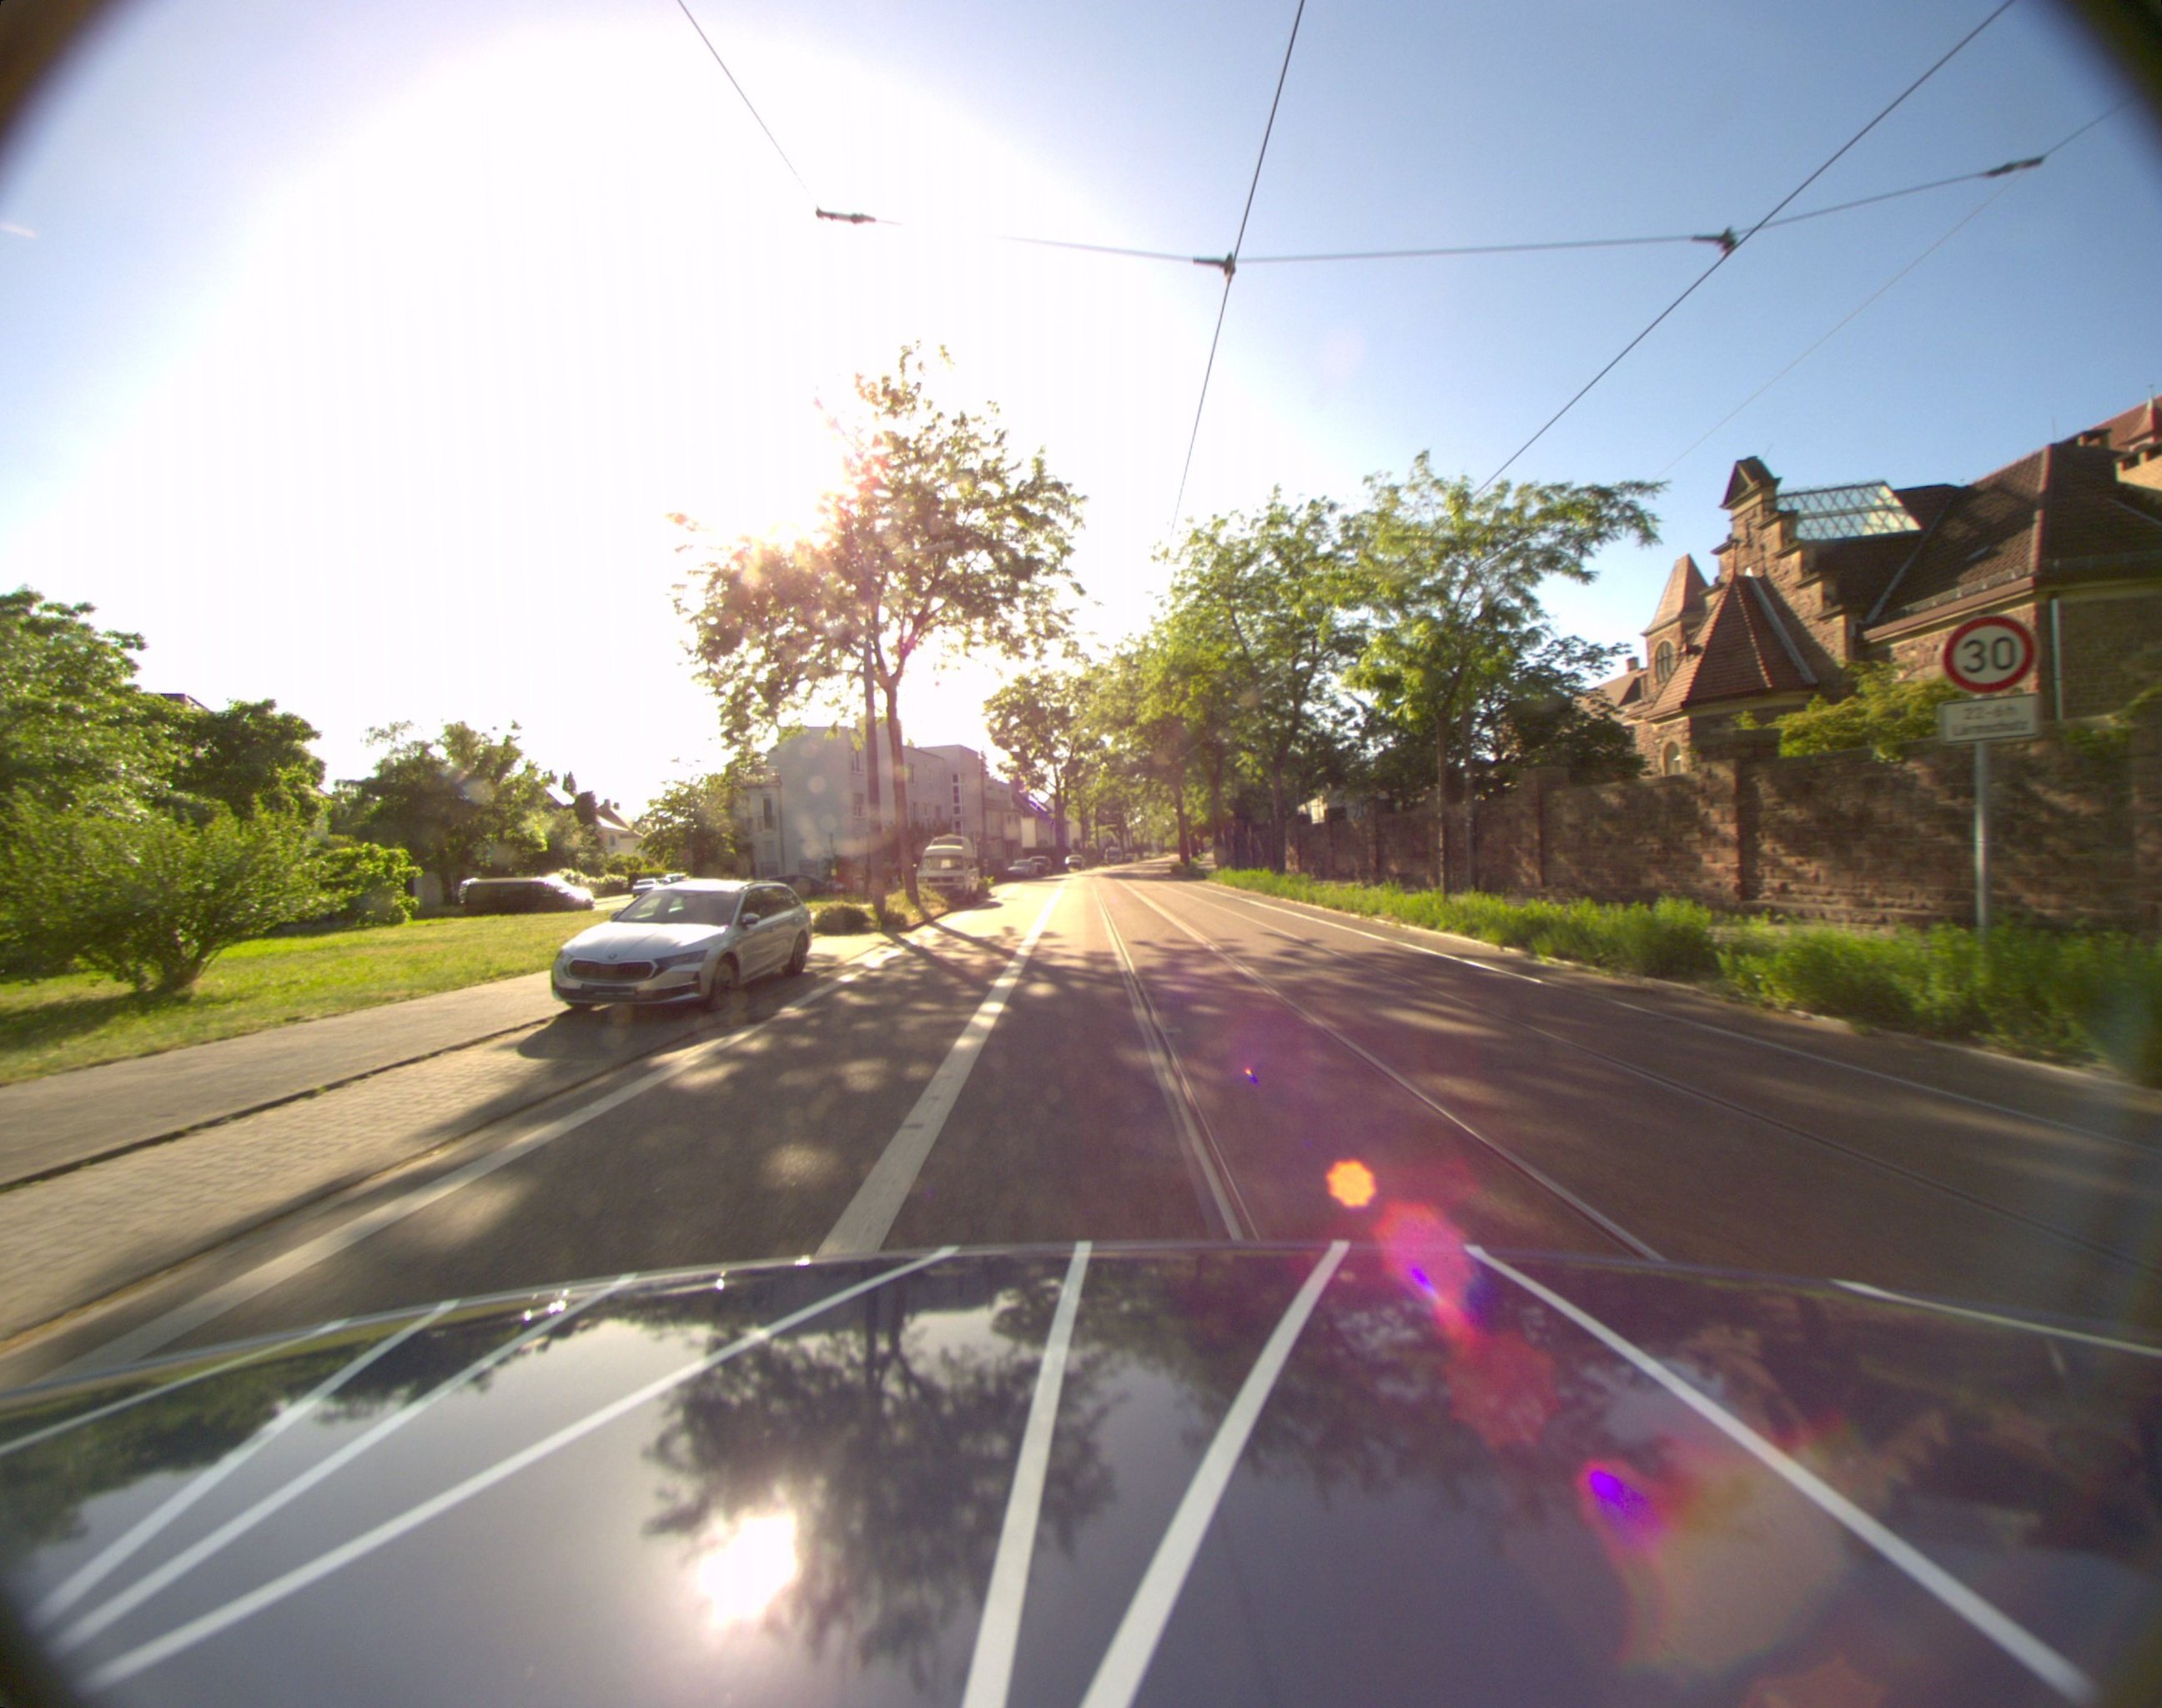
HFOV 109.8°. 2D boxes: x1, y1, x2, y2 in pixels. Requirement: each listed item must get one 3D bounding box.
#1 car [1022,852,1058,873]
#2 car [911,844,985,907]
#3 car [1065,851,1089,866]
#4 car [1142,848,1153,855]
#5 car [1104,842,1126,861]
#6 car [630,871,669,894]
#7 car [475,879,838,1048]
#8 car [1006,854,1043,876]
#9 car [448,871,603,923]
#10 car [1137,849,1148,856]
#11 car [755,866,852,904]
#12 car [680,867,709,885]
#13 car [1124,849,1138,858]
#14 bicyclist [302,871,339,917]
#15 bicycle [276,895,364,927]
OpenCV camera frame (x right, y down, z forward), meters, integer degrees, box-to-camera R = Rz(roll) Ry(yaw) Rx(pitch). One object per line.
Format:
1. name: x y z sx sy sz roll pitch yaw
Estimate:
1. car: -3.464 0.672 64.996 1.997 1.607 4.603 -2 1 11
2. car: -4.917 0.736 28.737 1.999 2.083 4.715 -3 0 -1
3. car: -0.409 0.465 82.196 1.879 1.509 4.651 -3 1 8
4. car: 14.722 -0.575 168.115 1.997 1.474 4.003 -3 0 10
5. car: 5.141 -0.417 114.064 2.295 2.575 5.722 -3 1 10
6. car: -36.472 2.365 64.302 2.001 1.756 4.263 -3 0 -18
7. car: -5.167 1.205 10.422 2.006 1.457 5.431 1 1 -1
8. car: -4.377 0.851 59.319 1.741 1.487 4.532 -3 1 10
9. car: -25.311 1.908 34.855 5.216 1.874 2.097 -4 1 -18
10. car: 12.881 -0.311 158.882 1.787 1.369 3.657 -3 1 10
11. car: -14.046 1.550 38.711 4.465 1.482 2.005 -3 4 -18
12. car: -41.549 2.323 81.759 2.001 1.684 3.994 -3 1 -16
13. car: 8.915 -0.139 135.097 1.662 1.527 4.004 -2 0 14
14. bicyclist: -34.536 1.816 34.512 0.851 2.002 0.825 -3 1 -23
15. bicycle: -34.506 2.583 34.496 2.667 1.224 0.798 -3 0 -24
